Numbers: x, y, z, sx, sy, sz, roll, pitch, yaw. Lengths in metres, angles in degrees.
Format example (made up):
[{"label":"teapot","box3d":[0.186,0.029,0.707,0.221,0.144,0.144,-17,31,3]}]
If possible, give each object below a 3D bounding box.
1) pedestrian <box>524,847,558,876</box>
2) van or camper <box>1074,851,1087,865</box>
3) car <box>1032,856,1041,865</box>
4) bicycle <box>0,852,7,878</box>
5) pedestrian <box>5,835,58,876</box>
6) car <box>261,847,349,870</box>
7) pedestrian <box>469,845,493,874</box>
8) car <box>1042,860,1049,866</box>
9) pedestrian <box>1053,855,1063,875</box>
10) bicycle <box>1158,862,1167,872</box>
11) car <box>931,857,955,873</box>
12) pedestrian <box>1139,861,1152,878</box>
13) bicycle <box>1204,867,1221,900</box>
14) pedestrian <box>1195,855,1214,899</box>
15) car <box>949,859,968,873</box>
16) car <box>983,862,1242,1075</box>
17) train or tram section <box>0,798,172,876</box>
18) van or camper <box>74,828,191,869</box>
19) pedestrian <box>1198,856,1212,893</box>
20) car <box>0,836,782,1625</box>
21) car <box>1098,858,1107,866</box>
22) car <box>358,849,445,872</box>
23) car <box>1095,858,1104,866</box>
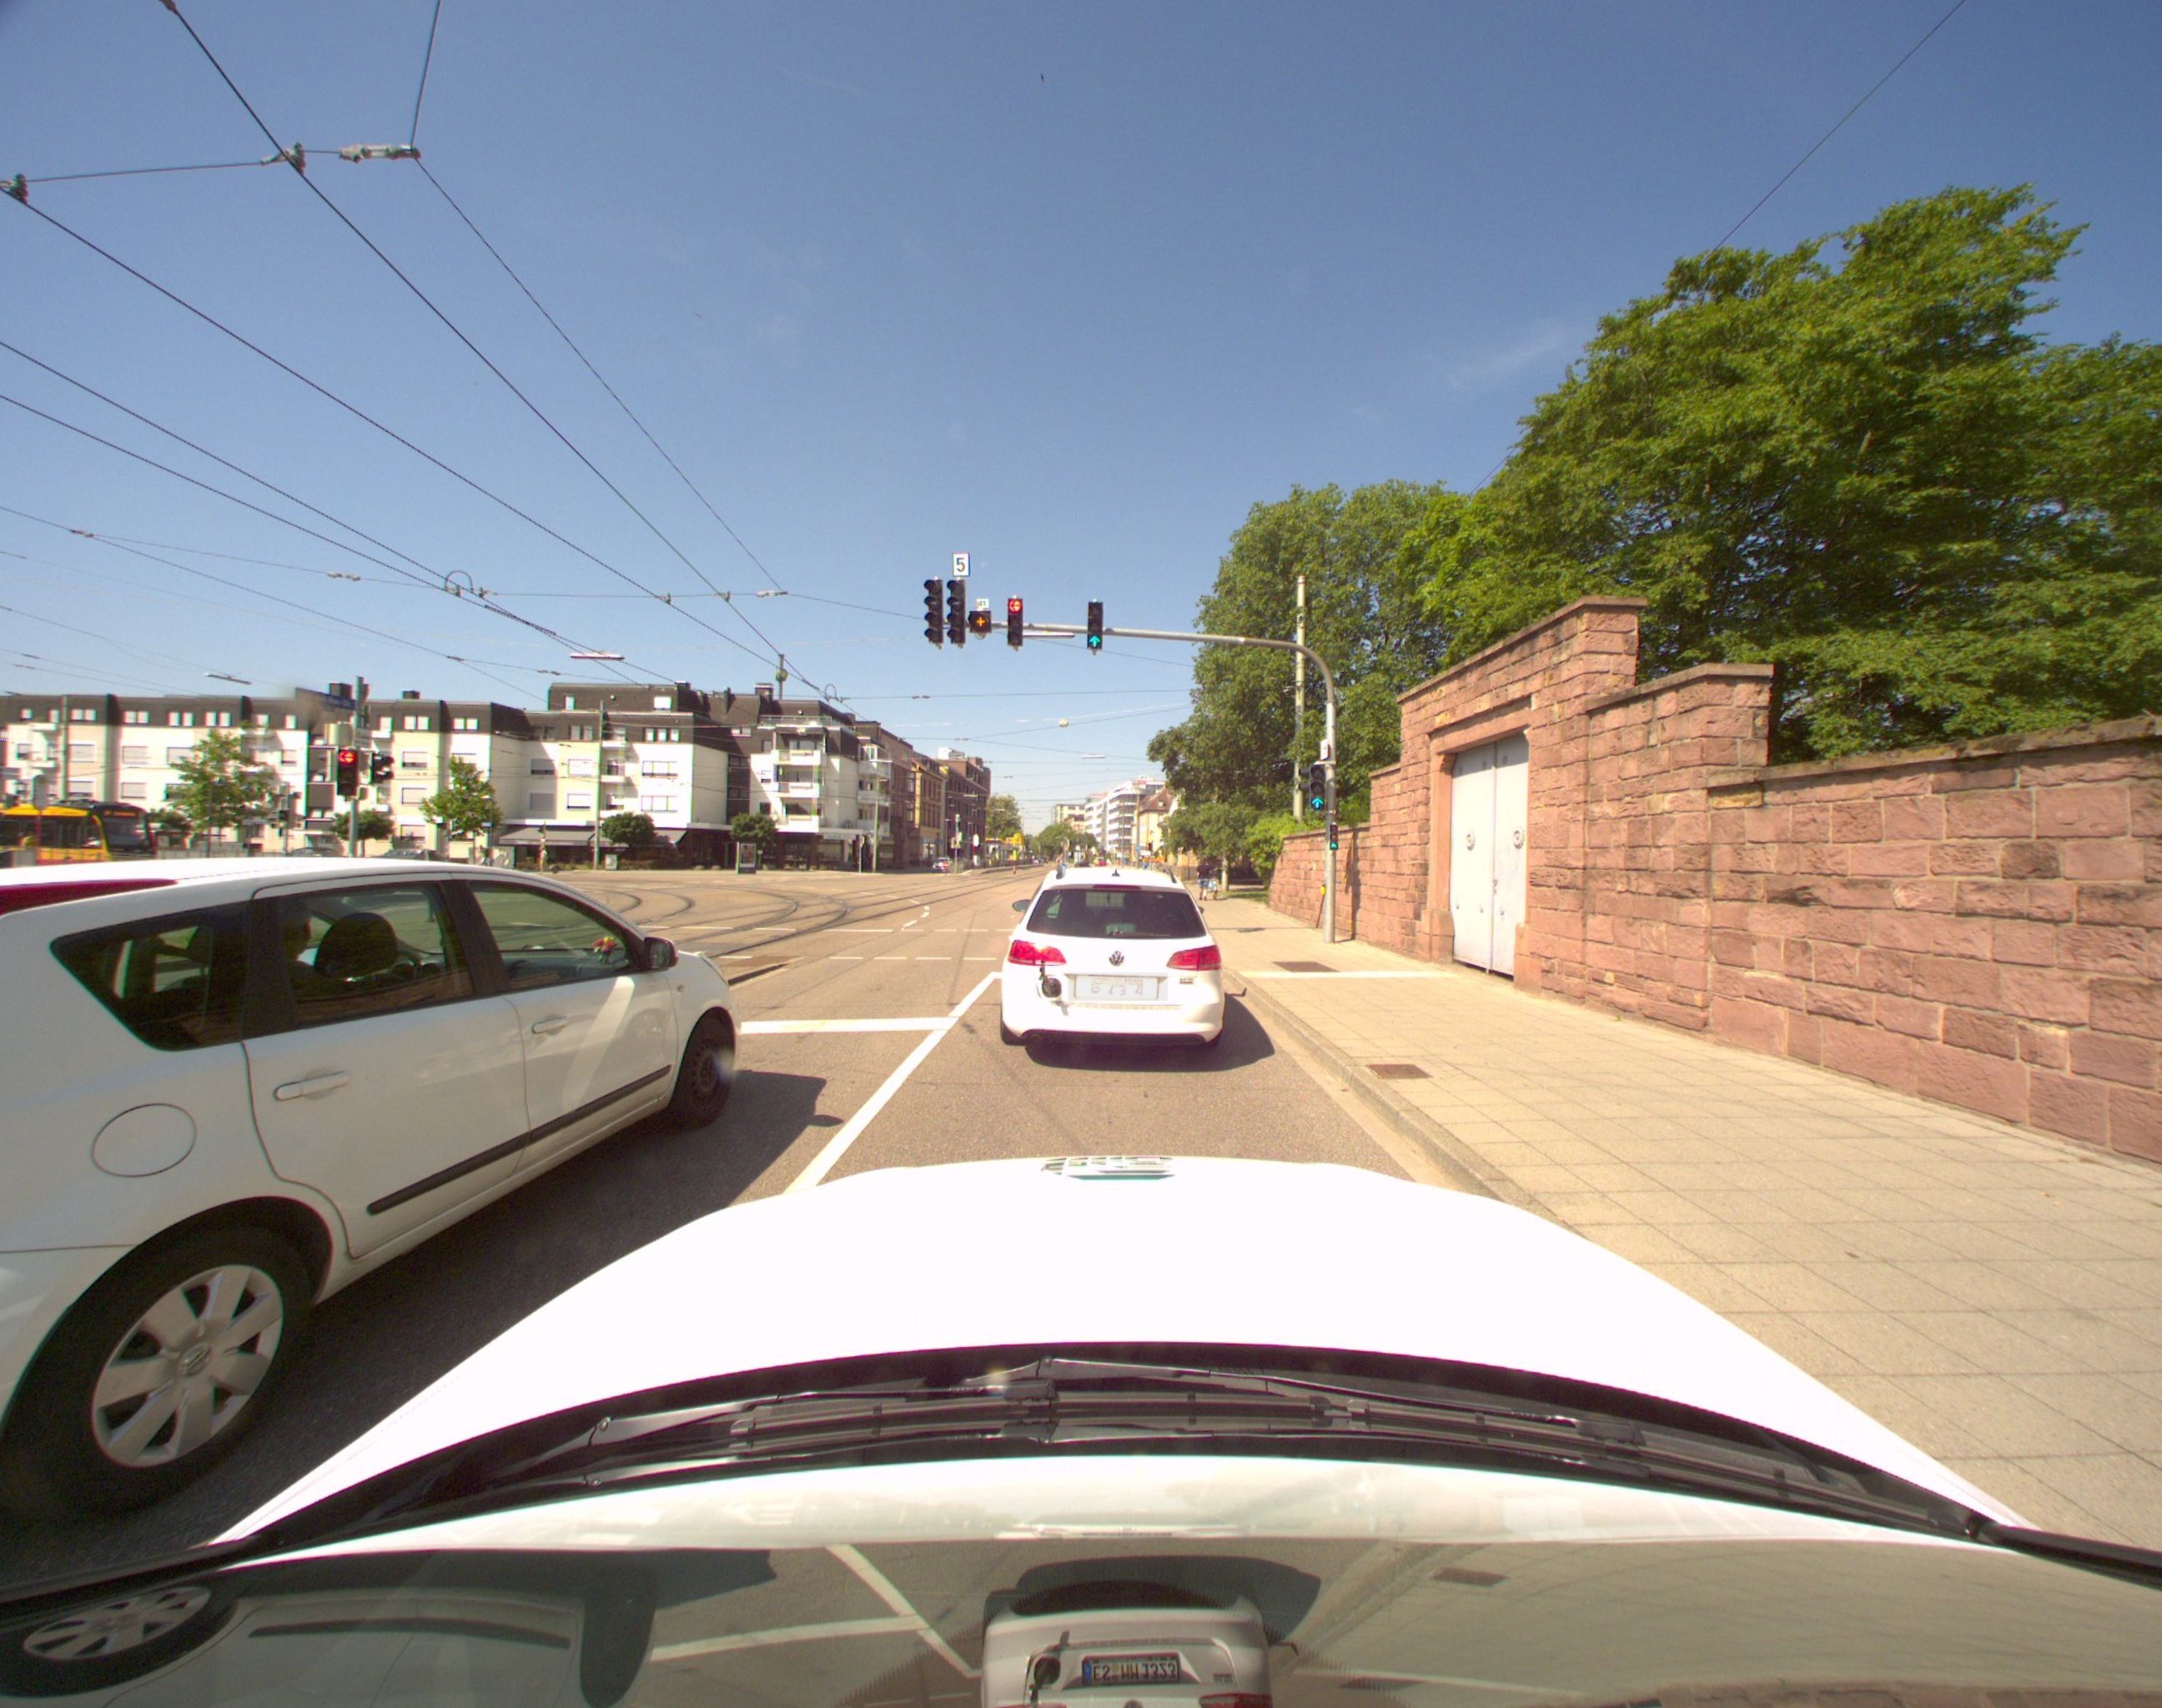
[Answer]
[{"label":"pedestrian","box3d":[-34.561,0.483,52.112,1.108,1.836,1.448,0,-1,34]},{"label":"van or camper","box3d":[-0.082,0.929,189.340,2.935,3.180,6.611,1,0,-1]},{"label":"car","box3d":[-10.745,1.633,196.783,1.987,2.014,3.999,-1,-1,0]},{"label":"bicycle","box3d":[-40.500,0.381,29.619,2.123,0.947,0.535,1,-1,-1]},{"label":"pedestrian","box3d":[-48.035,0.083,37.276,1.193,1.837,0.897,1,-1,1]},{"label":"car","box3d":[-51.182,0.297,53.747,3.973,1.500,1.828,1,-1,0]},{"label":"pedestrian","box3d":[-36.198,0.325,49.114,0.755,1.760,0.815,0,-1,15]},{"label":"car","box3d":[-9.784,2.481,226.381,1.662,1.466,3.774,1,0,1]},{"label":"pedestrian","box3d":[-2.148,1.039,76.756,0.823,1.809,0.834,1,-1,2]},{"label":"bicycle","box3d":[9.009,1.423,89.845,0.720,1.139,2.203,1,0,14]},{"label":"car","box3d":[-13.664,1.078,80.677,1.620,1.431,3.962,2,-1,0]},{"label":"pedestrian","box3d":[5.763,1.375,72.830,0.848,1.510,0.786,0,-1,41]},{"label":"bicycle","box3d":[4.674,1.027,28.864,0.532,1.111,1.812,0,-1,11]},{"label":"pedestrian","box3d":[4.393,0.823,29.014,0.538,1.549,0.663,-1,-1,1]},{"label":"car","box3d":[-13.325,1.286,88.426,1.568,1.459,3.811,1,0,-2]},{"label":"car","box3d":[0.280,0.795,7.494,1.746,1.418,3.854,1,0,2]},{"label":"train or tram section","box3d":[-53.584,-0.851,40.416,13.814,3.658,2.769,1,-1,1]},{"label":"van or camper","box3d":[-62.634,-0.353,53.830,4.859,2.624,2.376,1,-1,0]},{"label":"pedestrian","box3d":[5.743,0.933,37.674,0.646,1.682,0.709,1,-1,9]},{"label":"car","box3d":[-2.962,0.764,3.467,1.759,1.561,4.068,0,0,2]},{"label":"car","box3d":[5.095,1.860,192.340,1.989,2.014,3.996,1,0,-3]},{"label":"car","box3d":[-44.915,0.433,53.896,4.158,1.500,1.828,1,-1,0]},{"label":"car","box3d":[4.479,1.900,197.766,1.989,2.014,3.996,1,0,-3]}]
